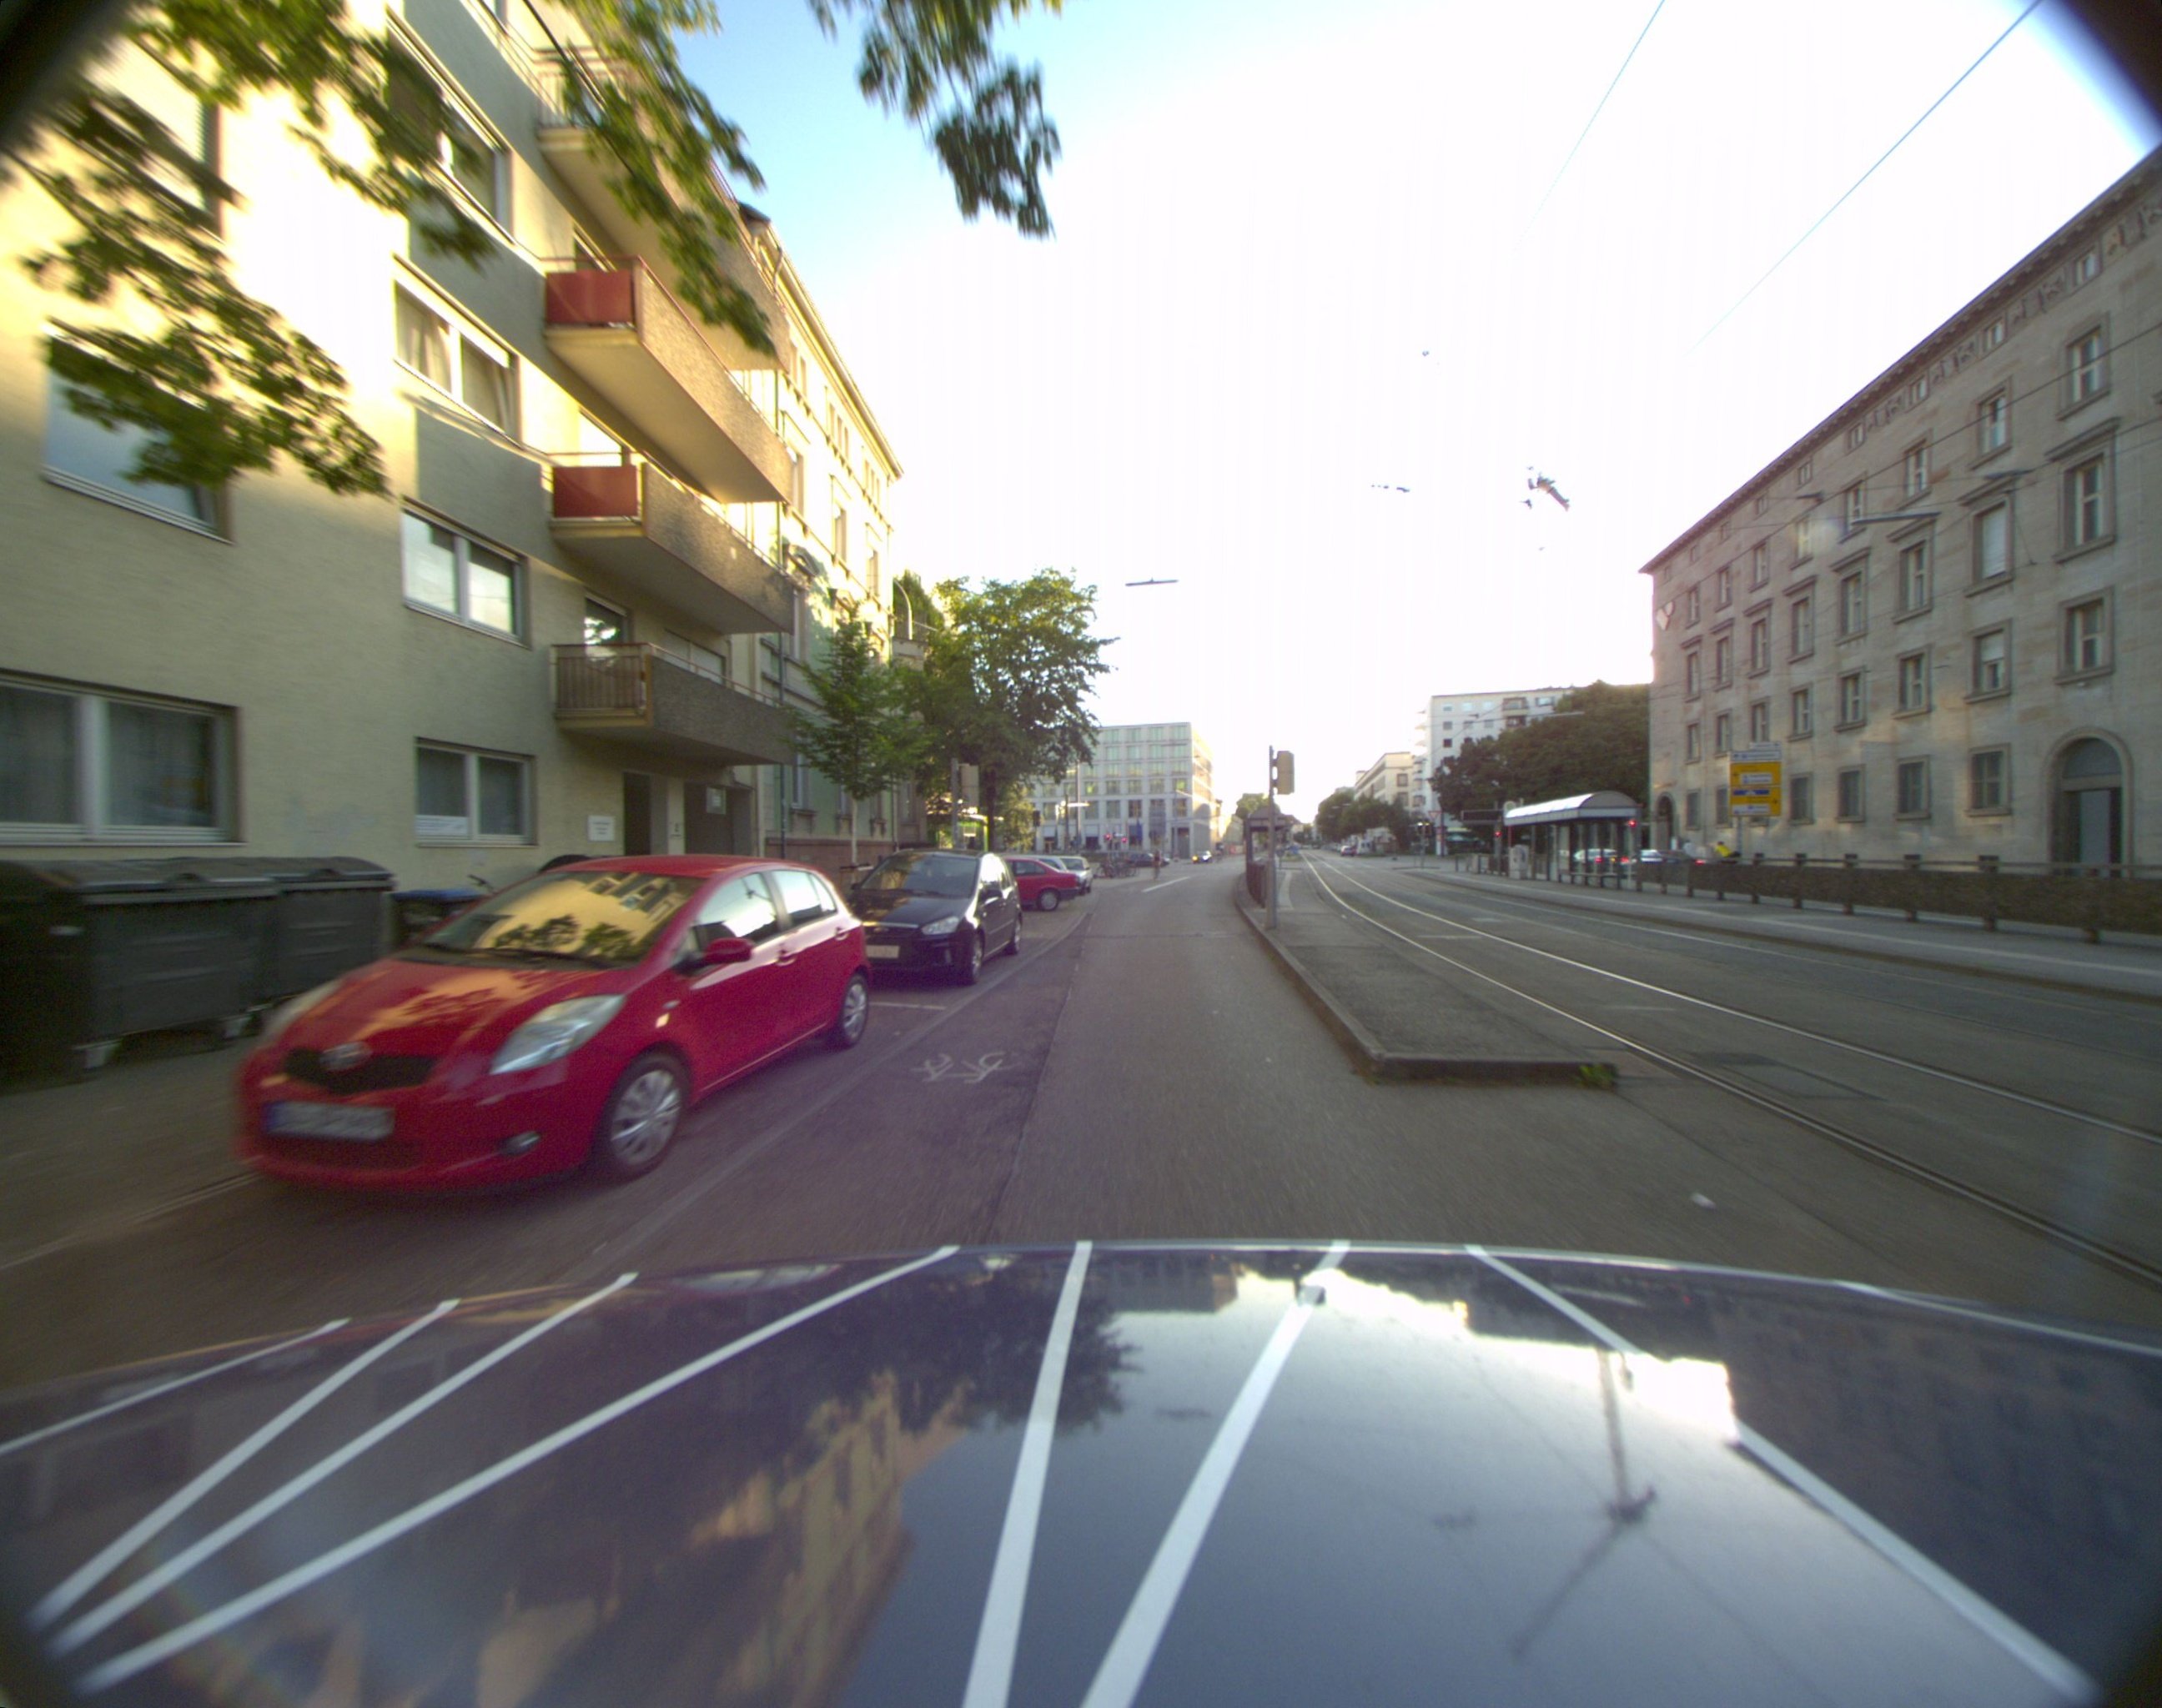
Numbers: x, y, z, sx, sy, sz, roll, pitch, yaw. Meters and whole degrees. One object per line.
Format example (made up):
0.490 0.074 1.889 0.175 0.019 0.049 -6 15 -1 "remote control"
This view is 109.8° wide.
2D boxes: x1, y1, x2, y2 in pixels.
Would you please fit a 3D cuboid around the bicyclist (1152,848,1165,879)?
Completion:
4.150 0.517 40.455 0.609 1.626 0.597 -1 1 11 "bicyclist"

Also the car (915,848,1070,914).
-2.611 0.742 22.587 4.215 1.715 1.718 -2 1 -27 "car"

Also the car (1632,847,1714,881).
26.553 0.398 34.223 1.645 1.419 3.709 -1 0 16 "car"

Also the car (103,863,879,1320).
-2.716 0.876 4.641 1.567 1.527 3.694 1 1 7 "car"

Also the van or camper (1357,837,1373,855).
45.317 -1.313 121.247 2.107 2.665 4.717 -1 -2 17 "van or camper"

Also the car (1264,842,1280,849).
48.778 -2.177 194.108 3.802 1.639 1.865 -1 1 15 "car"

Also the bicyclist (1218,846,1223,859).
17.116 -0.214 92.968 0.540 1.626 0.597 -1 1 16 "bicyclist"

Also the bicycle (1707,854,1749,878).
27.994 0.505 32.913 0.742 1.012 1.763 -1 1 16 "bicycle"

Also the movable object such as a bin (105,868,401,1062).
-7.151 0.900 6.674 1.143 1.493 1.270 -1 1 2 "movable object such as a bin"

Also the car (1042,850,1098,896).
-0.348 0.678 28.953 1.683 1.544 4.001 2 1 5 "car"

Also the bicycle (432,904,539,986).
-7.426 1.107 9.530 0.414 0.859 1.225 -1 1 -3 "bicycle"

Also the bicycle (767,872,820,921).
-7.032 1.019 18.654 0.652 1.068 1.556 -1 1 2 "bicycle"

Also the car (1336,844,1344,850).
62.764 -1.694 184.269 1.720 1.422 3.814 -1 1 19 "car"

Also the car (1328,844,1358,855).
39.950 -0.736 116.136 1.889 1.654 4.337 -1 1 -24 "car"

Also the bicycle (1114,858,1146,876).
3.087 0.820 48.093 1.861 1.068 0.745 -1 1 33 "bicycle"

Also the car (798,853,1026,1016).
-1.941 0.832 10.016 1.747 1.622 4.089 1 1 5 "car"

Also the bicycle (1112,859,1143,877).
2.849 0.863 46.775 1.757 1.068 0.745 -1 1 17 "bicycle"

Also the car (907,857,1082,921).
-2.238 0.848 19.943 4.216 1.446 1.641 -2 1 -28 "car"

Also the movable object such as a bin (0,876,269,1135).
-6.811 0.931 5.181 1.075 1.493 1.319 -1 1 0 "movable object such as a bin"

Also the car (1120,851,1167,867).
5.946 0.494 72.211 4.165 1.412 1.700 -1 1 17 "car"

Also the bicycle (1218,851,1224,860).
17.146 0.152 93.032 0.539 1.045 1.763 -1 1 16 "bicycle"

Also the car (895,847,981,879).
-7.407 0.465 39.468 3.989 1.564 1.806 -1 0 15 "car"

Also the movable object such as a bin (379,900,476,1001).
-7.307 1.063 8.522 0.555 1.041 0.571 -1 1 1 "movable object such as a bin"

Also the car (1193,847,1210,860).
15.255 -0.034 96.156 1.815 1.514 4.812 -3 0 7 "car"

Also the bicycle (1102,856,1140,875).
2.463 0.720 47.221 2.233 1.125 0.745 0 1 17 "bicycle"

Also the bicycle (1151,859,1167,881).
4.158 0.844 40.440 0.609 1.108 2.088 -1 1 11 "bicycle"

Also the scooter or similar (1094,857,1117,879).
1.375 0.787 42.798 1.201 1.218 0.591 1 1 16 "scooter or similar"

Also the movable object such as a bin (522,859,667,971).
-7.093 0.844 11.188 1.116 1.493 1.482 -1 1 2 "movable object such as a bin"

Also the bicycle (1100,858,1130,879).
1.963 0.831 43.614 1.528 1.156 0.745 -1 1 17 "bicycle"

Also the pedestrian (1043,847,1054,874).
-2.163 0.450 50.724 0.708 1.758 0.989 -1 1 1 "pedestrian"

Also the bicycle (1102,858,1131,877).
2.094 0.779 44.681 1.553 1.068 0.745 -1 1 17 "bicycle"

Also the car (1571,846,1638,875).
27.929 0.306 40.653 1.645 1.419 4.237 -1 0 16 "car"

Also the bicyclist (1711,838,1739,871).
28.063 0.024 33.124 0.757 1.432 0.597 -1 1 16 "bicyclist"

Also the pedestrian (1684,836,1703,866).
35.608 -0.191 44.184 0.696 1.700 0.647 -1 1 18 "pedestrian"
